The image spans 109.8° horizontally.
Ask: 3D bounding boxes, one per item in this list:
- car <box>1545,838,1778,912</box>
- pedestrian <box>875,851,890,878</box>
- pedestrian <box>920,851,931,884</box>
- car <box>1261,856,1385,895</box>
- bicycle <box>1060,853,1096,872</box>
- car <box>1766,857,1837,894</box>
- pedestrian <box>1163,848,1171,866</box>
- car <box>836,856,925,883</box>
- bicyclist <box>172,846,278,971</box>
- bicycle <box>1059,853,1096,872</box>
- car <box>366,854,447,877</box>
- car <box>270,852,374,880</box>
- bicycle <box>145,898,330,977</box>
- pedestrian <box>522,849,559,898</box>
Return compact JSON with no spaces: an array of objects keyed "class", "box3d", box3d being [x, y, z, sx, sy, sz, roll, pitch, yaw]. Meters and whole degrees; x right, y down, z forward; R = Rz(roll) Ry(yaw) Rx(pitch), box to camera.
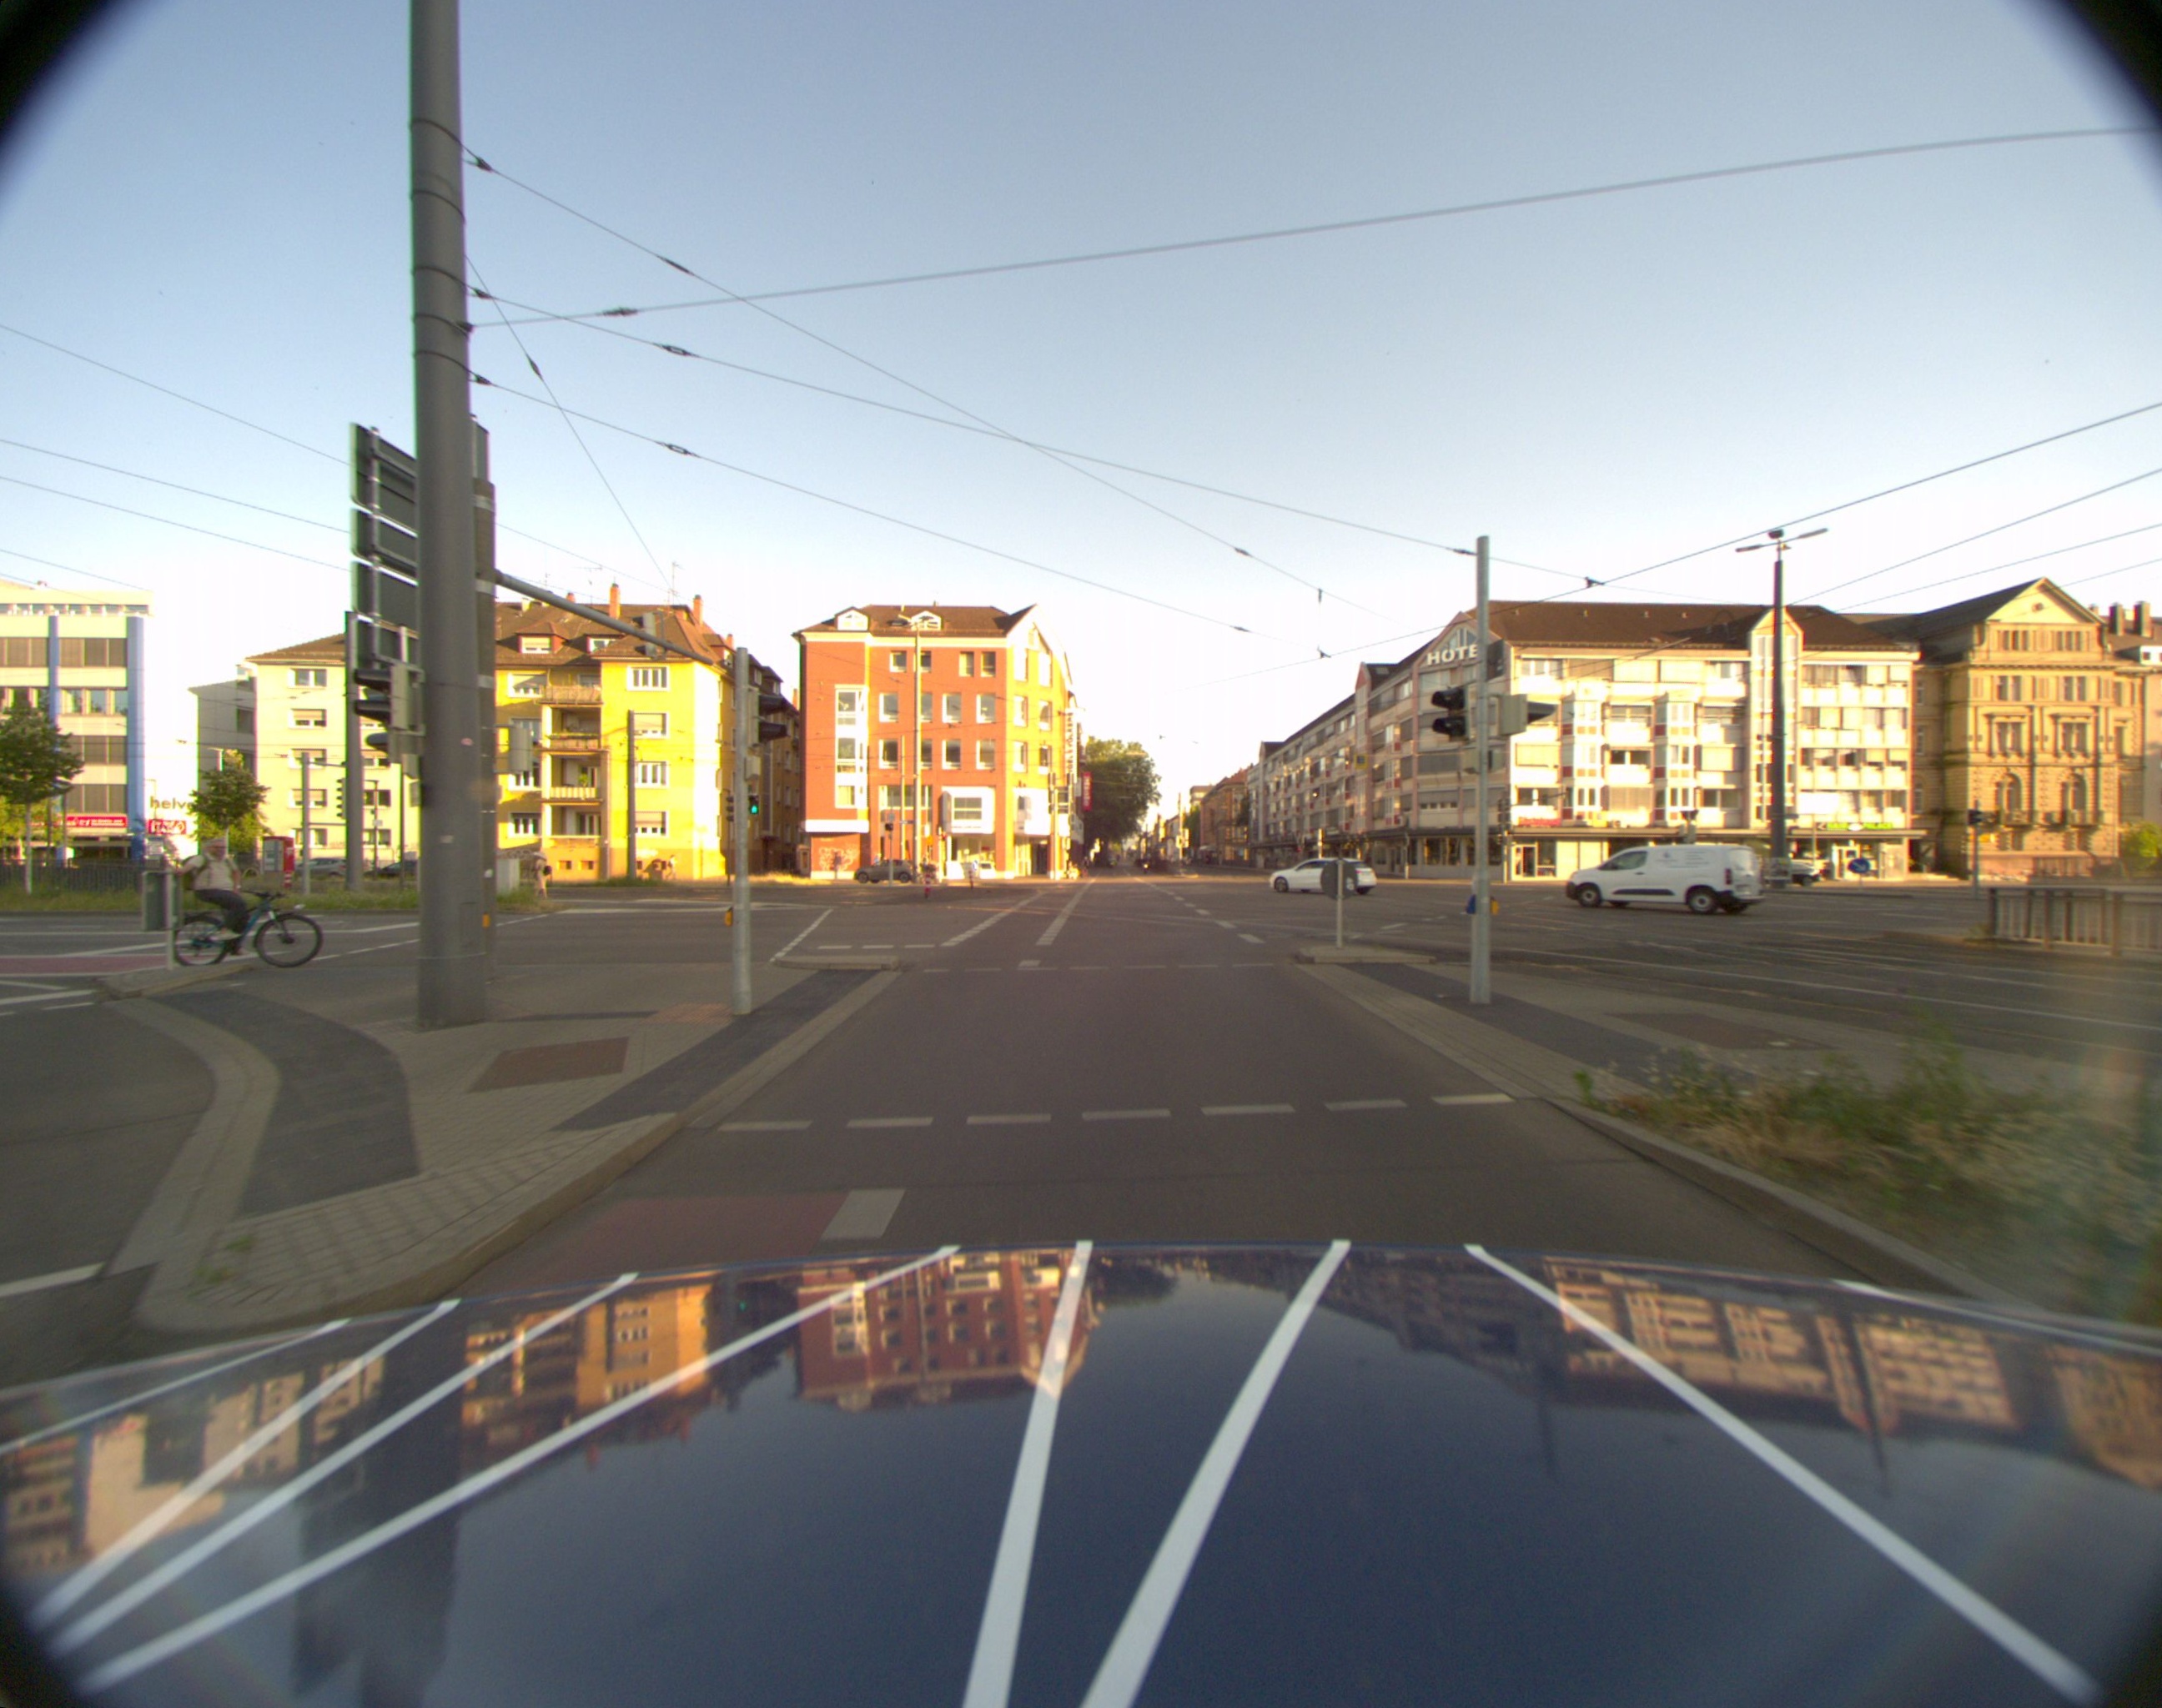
[{"class":"car","box3d":[16.157,0.547,21.508,2.003,1.827,4.866,-1,0,-25]},{"class":"pedestrian","box3d":[-12.934,0.687,49.520,0.873,1.768,0.917,0,1,-8]},{"class":"pedestrian","box3d":[-8.212,0.697,40.071,0.516,1.698,0.418,0,1,-22]},{"class":"car","box3d":[9.742,0.813,30.900,1.820,1.440,4.550,0,1,-38]},{"class":"bicycle","box3d":[-0.265,0.799,69.081,3.305,1.716,1.069,0,0,0]},{"class":"car","box3d":[41.809,1.285,44.077,4.625,1.544,2.218,9,-9,-37]},{"class":"pedestrian","box3d":[9.731,0.294,85.624,0.810,2.002,0.678,0,1,-2]},{"class":"car","box3d":[-11.748,0.913,44.708,4.695,1.495,1.918,0,0,8]},{"class":"bicyclist","box3d":[-11.777,0.729,10.472,0.748,1.661,0.596,0,1,-2]},{"class":"bicycle","box3d":[-0.307,0.770,67.912,3.305,1.716,1.069,0,0,2]},{"class":"car","box3d":[-43.075,0.744,48.596,3.542,1.412,1.739,0,0,-4]},{"class":"car","box3d":[-47.818,0.751,47.957,4.348,1.695,2.118,0,0,-4]},{"class":"bicycle","box3d":[-11.592,1.139,10.477,1.846,1.017,0.596,0,0,-2]},{"class":"pedestrian","box3d":[-17.299,0.618,24.324,0.635,1.532,0.708,0,1,16]}]
